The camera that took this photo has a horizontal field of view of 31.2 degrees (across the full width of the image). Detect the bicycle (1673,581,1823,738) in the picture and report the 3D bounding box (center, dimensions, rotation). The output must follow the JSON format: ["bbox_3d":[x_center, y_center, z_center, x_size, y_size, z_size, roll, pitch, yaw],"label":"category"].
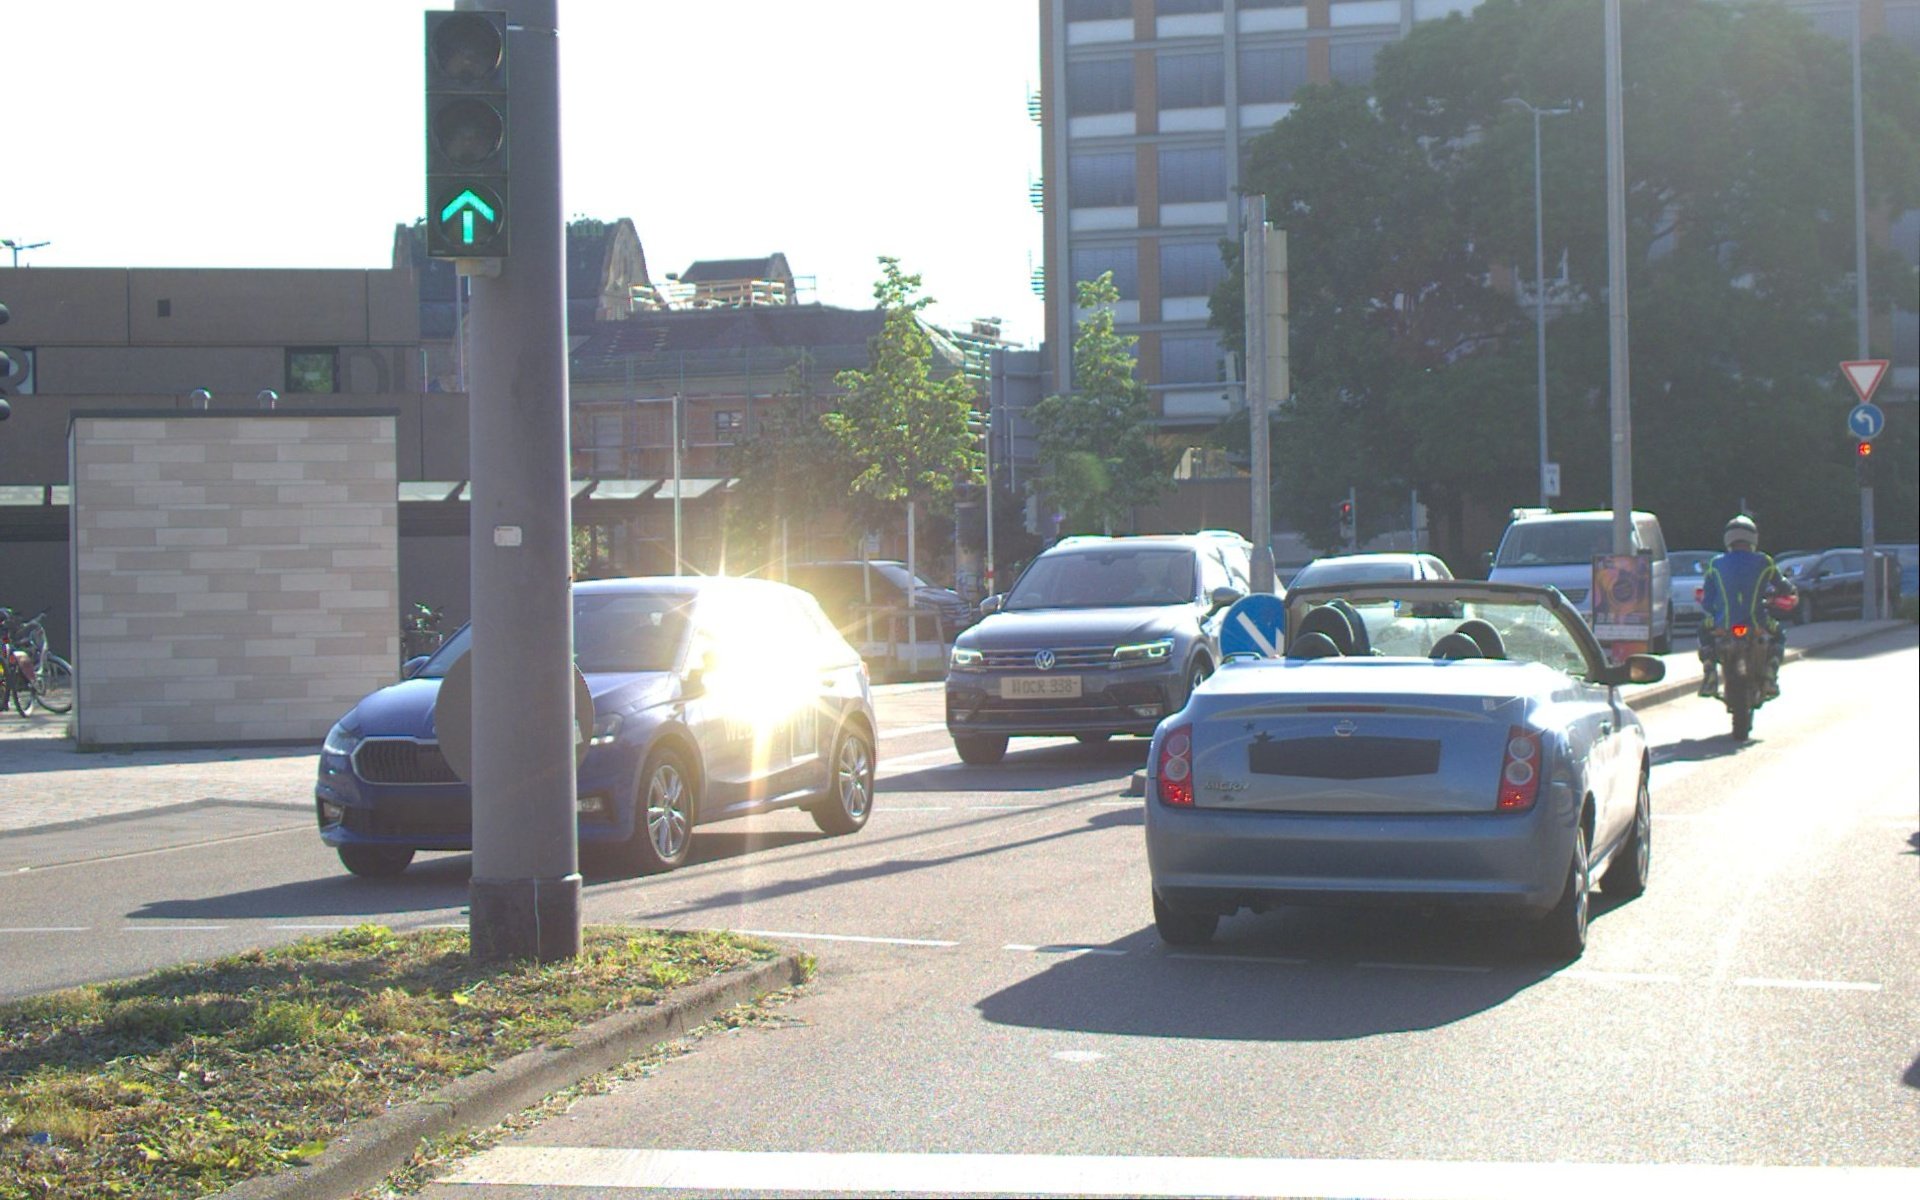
[{"bbox_3d":[6.308,0.460,27.431,0.609,1.187,2.411,1,0,26],"label":"bicycle"}]

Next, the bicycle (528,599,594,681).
[{"bbox_3d":[-5.576,0.548,47.988,0.606,1.111,1.897,1,0,-16],"label":"bicycle"}]

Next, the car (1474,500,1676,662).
[{"bbox_3d":[8.124,-0.262,45.083,1.910,1.939,4.702,-2,0,18],"label":"car"}]

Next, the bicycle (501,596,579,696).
[{"bbox_3d":[-4.902,0.524,40.034,0.606,1.111,1.897,1,0,-16],"label":"bicycle"}]

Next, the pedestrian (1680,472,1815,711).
[{"bbox_3d":[6.289,-0.069,27.440,0.834,1.862,0.919,1,0,26],"label":"pedestrian"}]

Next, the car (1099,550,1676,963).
[{"bbox_3d":[1.930,0.553,14.349,1.661,1.436,4.151,1,0,17],"label":"car"}]

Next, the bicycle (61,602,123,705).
[{"bbox_3d":[-9.825,0.592,38.876,0.606,1.111,1.897,1,0,-16],"label":"bicycle"}]

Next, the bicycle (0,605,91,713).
[{"bbox_3d":[-9.916,0.618,36.932,0.607,1.111,1.896,1,0,2],"label":"bicycle"}]

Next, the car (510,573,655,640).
[{"bbox_3d":[-9.135,0.165,83.084,1.640,1.555,3.598,-1,1,-43],"label":"car"}]

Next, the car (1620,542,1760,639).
[{"bbox_3d":[12.356,-0.184,58.018,1.801,1.525,3.996,-2,0,19],"label":"car"}]

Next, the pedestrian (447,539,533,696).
[{"bbox_3d":[-5.642,0.207,41.269,0.900,1.862,0.687,1,0,-16],"label":"pedestrian"}]

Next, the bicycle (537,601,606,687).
[{"bbox_3d":[-5.212,0.581,46.034,0.606,1.111,1.897,1,0,-16],"label":"bicycle"}]

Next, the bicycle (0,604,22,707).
[{"bbox_3d":[-10.829,0.609,38.485,0.606,1.111,1.897,1,0,-16],"label":"bicycle"}]

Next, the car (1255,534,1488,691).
[{"bbox_3d":[4.406,0.107,36.353,1.696,1.555,3.976,-1,1,18],"label":"car"}]

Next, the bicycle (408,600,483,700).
[{"bbox_3d":[-5.965,0.566,39.829,0.606,1.111,1.897,1,0,-16],"label":"bicycle"}]

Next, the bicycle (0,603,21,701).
[{"bbox_3d":[-11.376,0.596,40.382,0.606,1.111,1.897,1,0,-14],"label":"bicycle"}]

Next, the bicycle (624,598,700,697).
[{"bbox_3d":[-3.513,0.546,40.419,0.606,1.111,1.897,1,0,-13],"label":"bicycle"}]

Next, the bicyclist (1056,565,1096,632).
[{"bbox_3d":[2.787,-0.034,82.620,0.752,1.593,0.588,1,0,27],"label":"bicyclist"}]

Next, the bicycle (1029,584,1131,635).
[{"bbox_3d":[2.883,0.231,82.566,2.410,1.187,0.609,1,0,27],"label":"bicycle"}]

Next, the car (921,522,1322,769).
[{"bbox_3d":[1.355,0.300,26.564,1.763,1.700,4.525,-2,0,20],"label":"car"}]

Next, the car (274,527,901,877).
[{"bbox_3d":[-1.809,0.499,18.021,1.738,1.569,3.921,-3,-1,18],"label":"car"}]

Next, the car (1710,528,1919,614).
[{"bbox_3d":[16.550,-0.565,66.419,3.988,1.525,1.804,-2,0,-36],"label":"car"}]

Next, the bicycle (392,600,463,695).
[{"bbox_3d":[-6.498,0.564,41.879,0.606,1.111,1.897,1,0,-16],"label":"bicycle"}]

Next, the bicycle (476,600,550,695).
[{"bbox_3d":[-5.466,0.569,41.936,0.606,1.111,1.897,1,0,-16],"label":"bicycle"}]

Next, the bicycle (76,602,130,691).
[{"bbox_3d":[-11.163,0.596,44.746,0.606,1.111,1.897,1,0,-16],"label":"bicycle"}]
